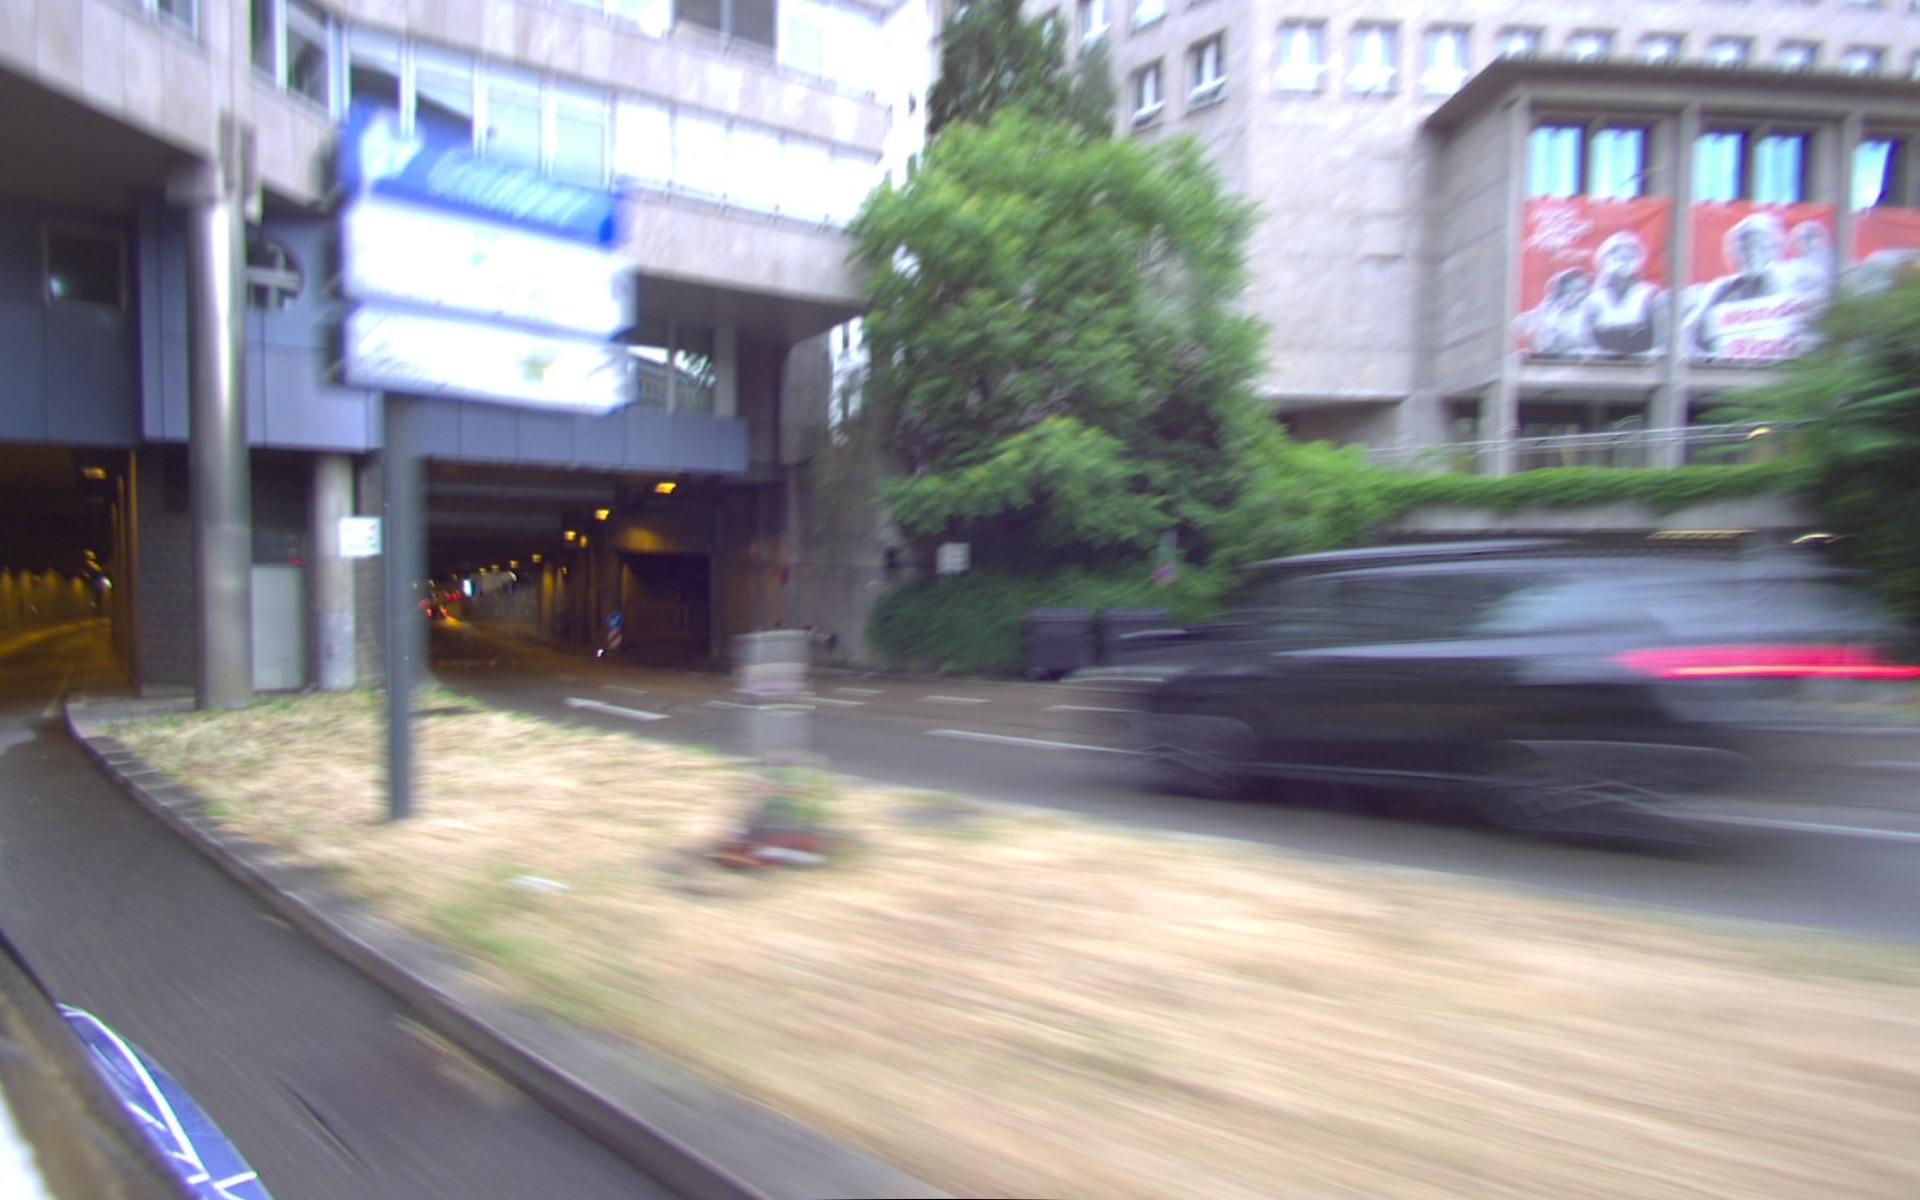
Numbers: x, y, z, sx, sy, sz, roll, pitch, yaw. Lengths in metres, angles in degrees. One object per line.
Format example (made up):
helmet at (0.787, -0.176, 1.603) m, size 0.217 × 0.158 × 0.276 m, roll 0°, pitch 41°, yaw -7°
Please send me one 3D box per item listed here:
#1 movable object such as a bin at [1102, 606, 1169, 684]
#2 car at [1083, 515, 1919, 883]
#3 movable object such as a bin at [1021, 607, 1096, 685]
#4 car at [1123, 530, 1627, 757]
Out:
movable object such as a bin at (3.467, 0.874, 20.140) m, size 1.192 × 1.461 × 1.295 m, roll 0°, pitch 1°, yaw 5°
car at (3.137, 0.488, 6.553) m, size 4.387 × 1.600 × 1.825 m, roll -2°, pitch -2°, yaw 42°
movable object such as a bin at (1.942, 0.896, 20.202) m, size 1.320 × 1.461 × 1.168 m, roll 0°, pitch 1°, yaw -3°
car at (4.239, 0.428, 10.831) m, size 4.638 × 1.936 × 1.818 m, roll -2°, pitch -2°, yaw 40°
